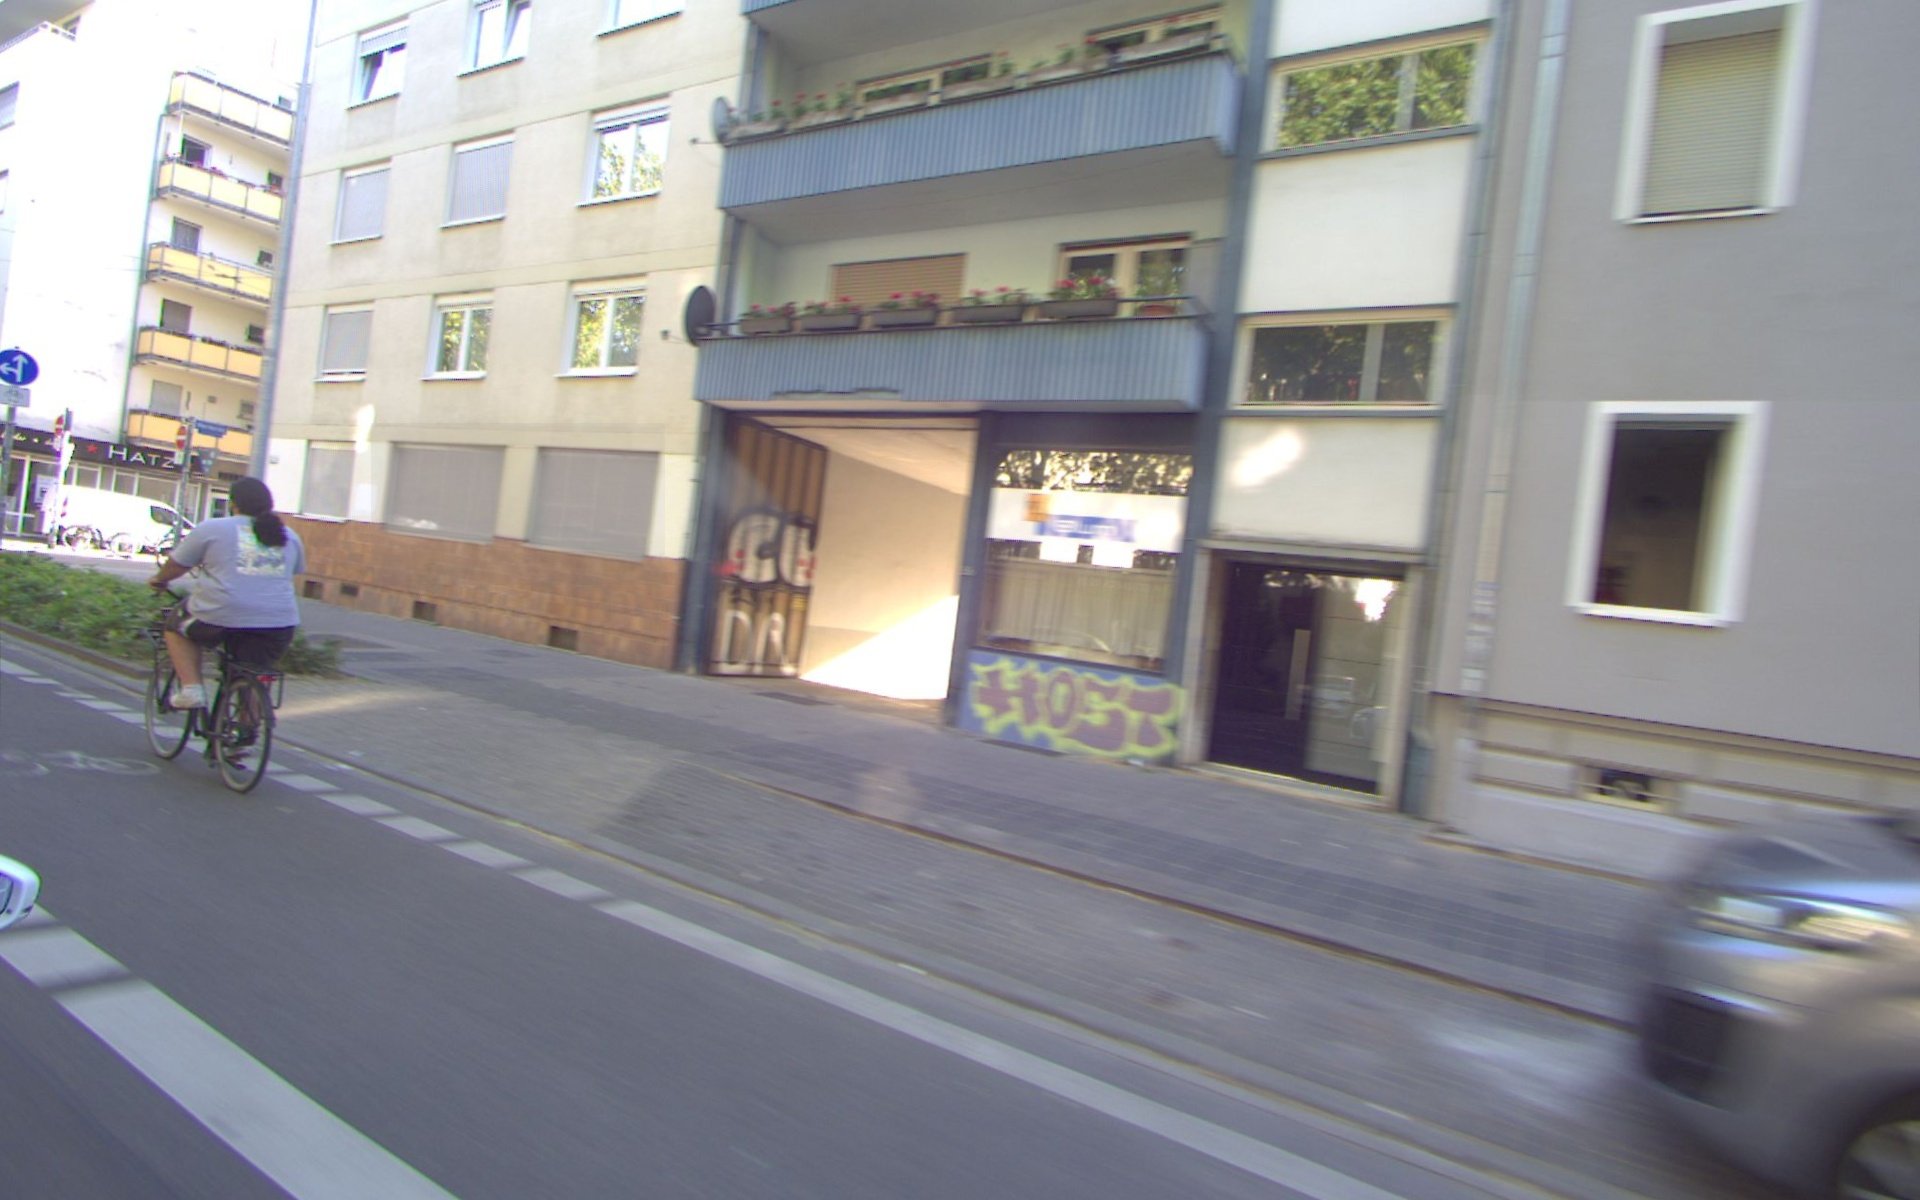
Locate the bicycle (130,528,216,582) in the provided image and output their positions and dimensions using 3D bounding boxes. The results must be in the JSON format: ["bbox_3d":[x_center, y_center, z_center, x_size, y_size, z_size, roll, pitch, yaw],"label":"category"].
[{"bbox_3d":[-18.863,-1.083,24.113,1.934,1.028,0.804,7,0,26],"label":"bicycle"}]

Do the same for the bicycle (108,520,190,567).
[{"bbox_3d":[-24.037,-1.676,29.832,0.605,1.130,1.768,7,0,44],"label":"bicycle"}]

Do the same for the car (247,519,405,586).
[{"bbox_3d":[-21.223,-1.549,33.821,1.773,1.625,4.011,7,-1,31],"label":"car"}]

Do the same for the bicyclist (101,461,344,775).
[{"bbox_3d":[-4.614,0.102,6.314,0.899,1.780,0.788,7,0,31],"label":"bicyclist"}]

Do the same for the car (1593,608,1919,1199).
[{"bbox_3d":[4.664,1.301,2.695,4.844,1.912,1.861,7,-1,33],"label":"car"}]

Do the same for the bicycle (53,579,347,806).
[{"bbox_3d":[-4.853,0.543,6.387,1.957,1.104,0.702,6,-2,31],"label":"bicycle"}]

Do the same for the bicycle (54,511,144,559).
[{"bbox_3d":[-25.447,-1.914,29.761,0.692,1.130,1.837,7,0,34],"label":"bicycle"}]

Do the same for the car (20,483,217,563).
[{"bbox_3d":[-27.234,-2.439,32.724,1.965,1.853,4.369,7,-1,28],"label":"car"}]
